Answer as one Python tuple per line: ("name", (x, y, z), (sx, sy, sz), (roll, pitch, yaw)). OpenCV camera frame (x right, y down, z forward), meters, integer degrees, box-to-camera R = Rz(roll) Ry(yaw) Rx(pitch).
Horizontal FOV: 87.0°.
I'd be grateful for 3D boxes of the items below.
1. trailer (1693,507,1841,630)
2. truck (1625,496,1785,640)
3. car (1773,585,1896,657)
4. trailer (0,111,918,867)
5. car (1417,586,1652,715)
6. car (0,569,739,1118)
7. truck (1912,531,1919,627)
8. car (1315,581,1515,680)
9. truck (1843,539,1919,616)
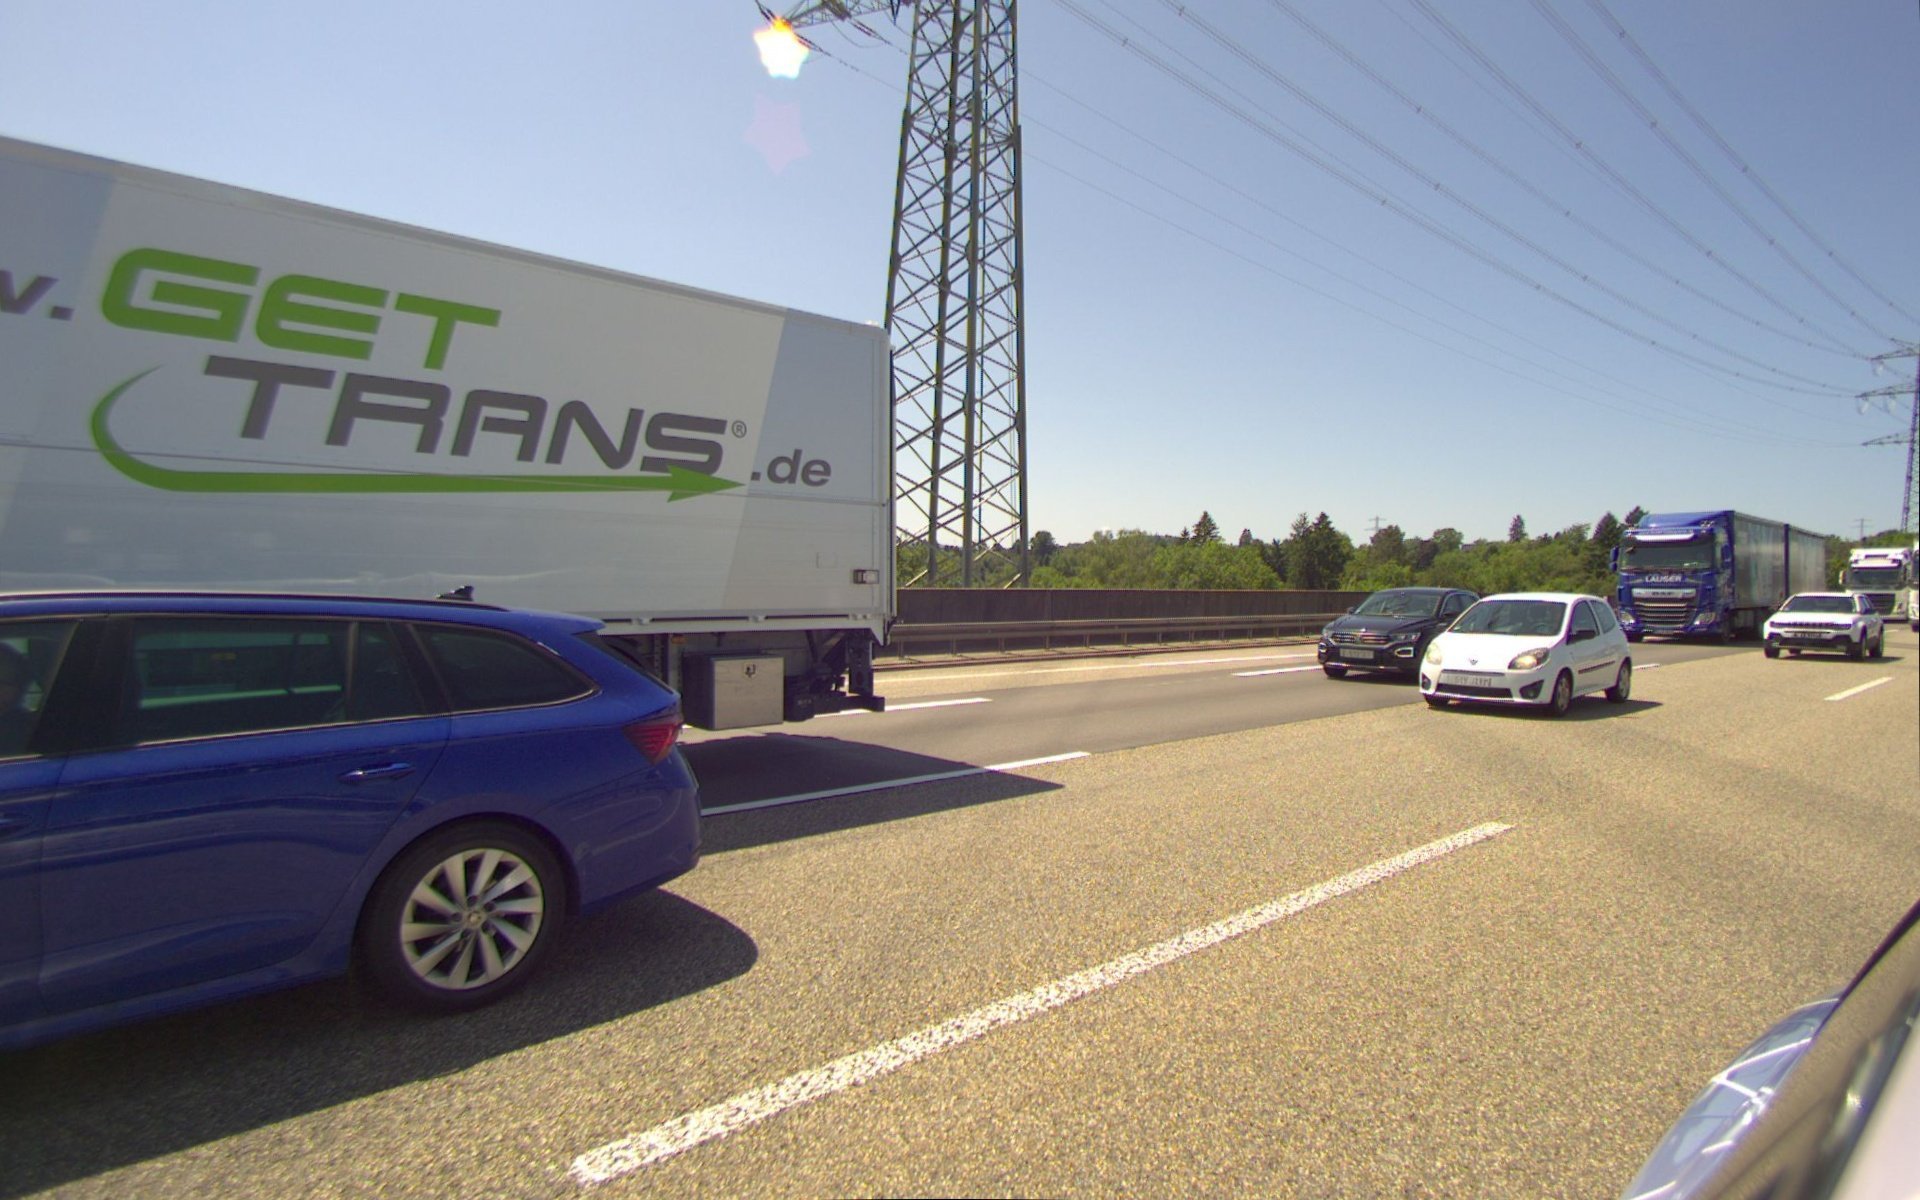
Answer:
("trailer", (30.372, -1.119, 37.856), (10.698, 4.044, 2.541), (-1, 1, -42))
("truck", (23.471, -0.916, 31.709), (7.790, 4.018, 2.515), (0, 0, -42))
("car", (20.418, 0.433, 23.589), (3.688, 1.554, 1.720), (0, 1, -42))
("trailer", (-4.325, -0.550, 7.042), (8.149, 3.640, 2.848), (0, 0, -42))
("car", (7.609, 0.556, 13.290), (3.566, 1.458, 1.582), (0, 1, -41))
("car", (-3.118, 0.637, 3.327), (4.422, 1.458, 1.712), (0, 1, -41))
("truck", (42.760, -0.915, 42.892), (6.625, 3.941, 2.911), (-1, 0, -42))
("car", (7.871, 0.444, 17.377), (3.821, 1.524, 1.708), (0, 1, -41))
("truck", (50.782, -1.225, 55.337), (6.625, 3.941, 2.911), (-1, 0, -42))
